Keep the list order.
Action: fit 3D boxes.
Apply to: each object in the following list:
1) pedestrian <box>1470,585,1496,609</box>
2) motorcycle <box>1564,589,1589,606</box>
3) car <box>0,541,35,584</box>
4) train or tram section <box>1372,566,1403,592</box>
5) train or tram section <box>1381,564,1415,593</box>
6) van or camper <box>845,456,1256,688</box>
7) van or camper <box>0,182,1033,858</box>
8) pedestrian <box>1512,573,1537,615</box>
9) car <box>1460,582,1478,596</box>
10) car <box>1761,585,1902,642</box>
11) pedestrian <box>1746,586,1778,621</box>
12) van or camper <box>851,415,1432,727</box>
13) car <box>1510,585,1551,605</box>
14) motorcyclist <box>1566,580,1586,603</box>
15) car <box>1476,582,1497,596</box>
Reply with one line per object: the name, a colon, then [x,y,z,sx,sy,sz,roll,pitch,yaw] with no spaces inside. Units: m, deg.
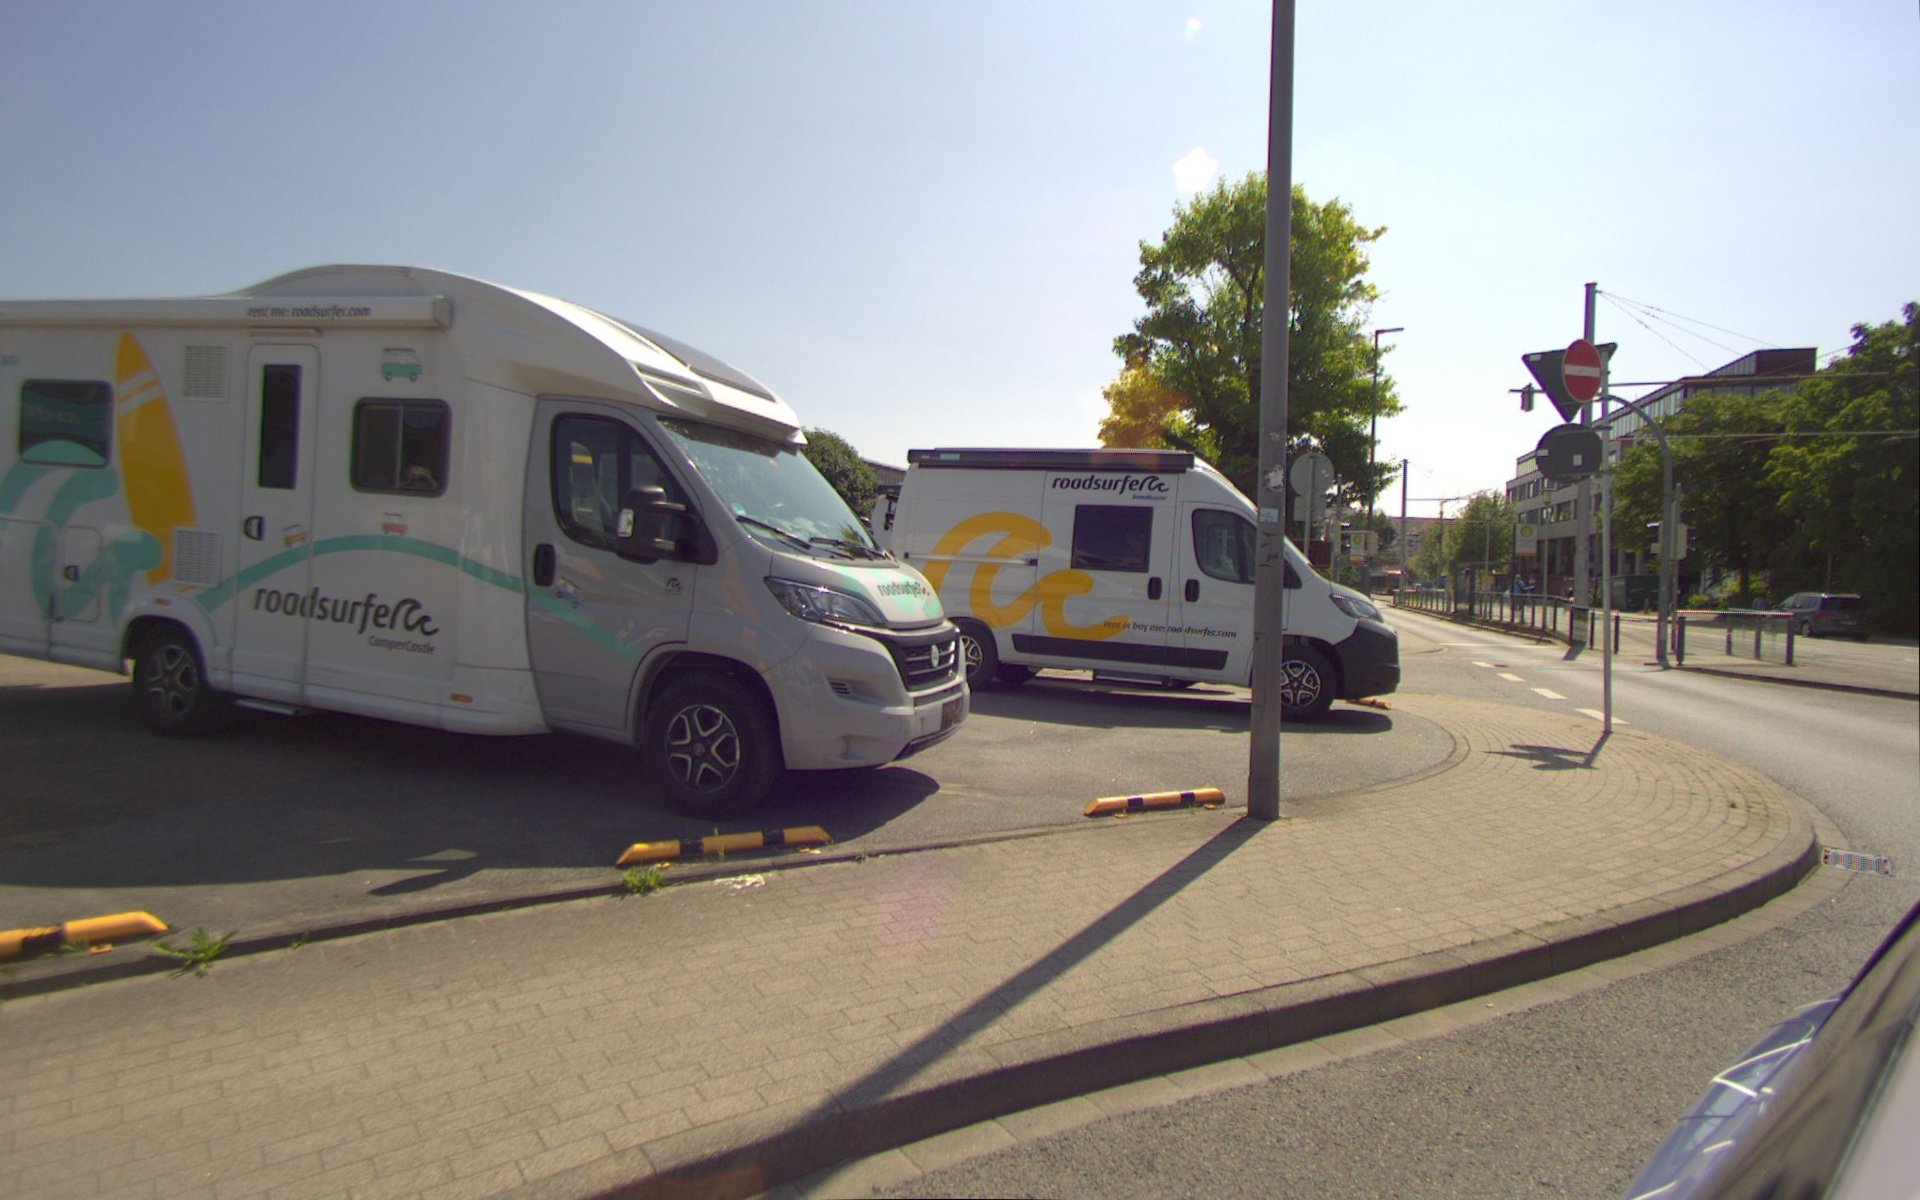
pedestrian: [24.307,-0.146,47.084,0.933,1.113,0.722,2,1,18]
motorcycle: [40.014,-0.158,65.705,0.813,1.024,1.954,1,1,16]
car: [-29.612,-1.170,30.614,2.901,1.265,1.217,2,2,20]
train or tram section: [61.093,-3.031,144.837,2.646,3.527,13.318,2,2,17]
train or tram section: [57.348,-2.788,132.674,2.646,3.527,12.262,2,2,17]
van or camper: [1.274,-0.394,14.462,5.461,2.850,2.032,1,-1,23]
van or camper: [-3.244,-0.588,6.715,6.995,2.982,2.321,4,2,19]
pedestrian: [23.657,-0.243,42.429,0.716,1.746,0.939,1,0,18]
car: [65.999,-1.457,131.283,1.853,1.638,3.966,3,2,25]
car: [30.630,0.426,35.741,1.905,1.602,4.177,5,4,13]
pedestrian: [36.810,0.137,46.469,0.862,1.545,0.841,2,1,17]
van or camper: [1.876,-0.385,11.147,5.761,2.808,2.076,3,1,21]
car: [45.612,-0.426,80.976,1.888,1.459,4.570,4,2,17]
motorcyclist: [40.049,-0.574,65.784,0.827,1.493,0.958,1,1,16]
car: [64.453,-1.342,123.917,1.979,1.642,3.966,3,2,25]
